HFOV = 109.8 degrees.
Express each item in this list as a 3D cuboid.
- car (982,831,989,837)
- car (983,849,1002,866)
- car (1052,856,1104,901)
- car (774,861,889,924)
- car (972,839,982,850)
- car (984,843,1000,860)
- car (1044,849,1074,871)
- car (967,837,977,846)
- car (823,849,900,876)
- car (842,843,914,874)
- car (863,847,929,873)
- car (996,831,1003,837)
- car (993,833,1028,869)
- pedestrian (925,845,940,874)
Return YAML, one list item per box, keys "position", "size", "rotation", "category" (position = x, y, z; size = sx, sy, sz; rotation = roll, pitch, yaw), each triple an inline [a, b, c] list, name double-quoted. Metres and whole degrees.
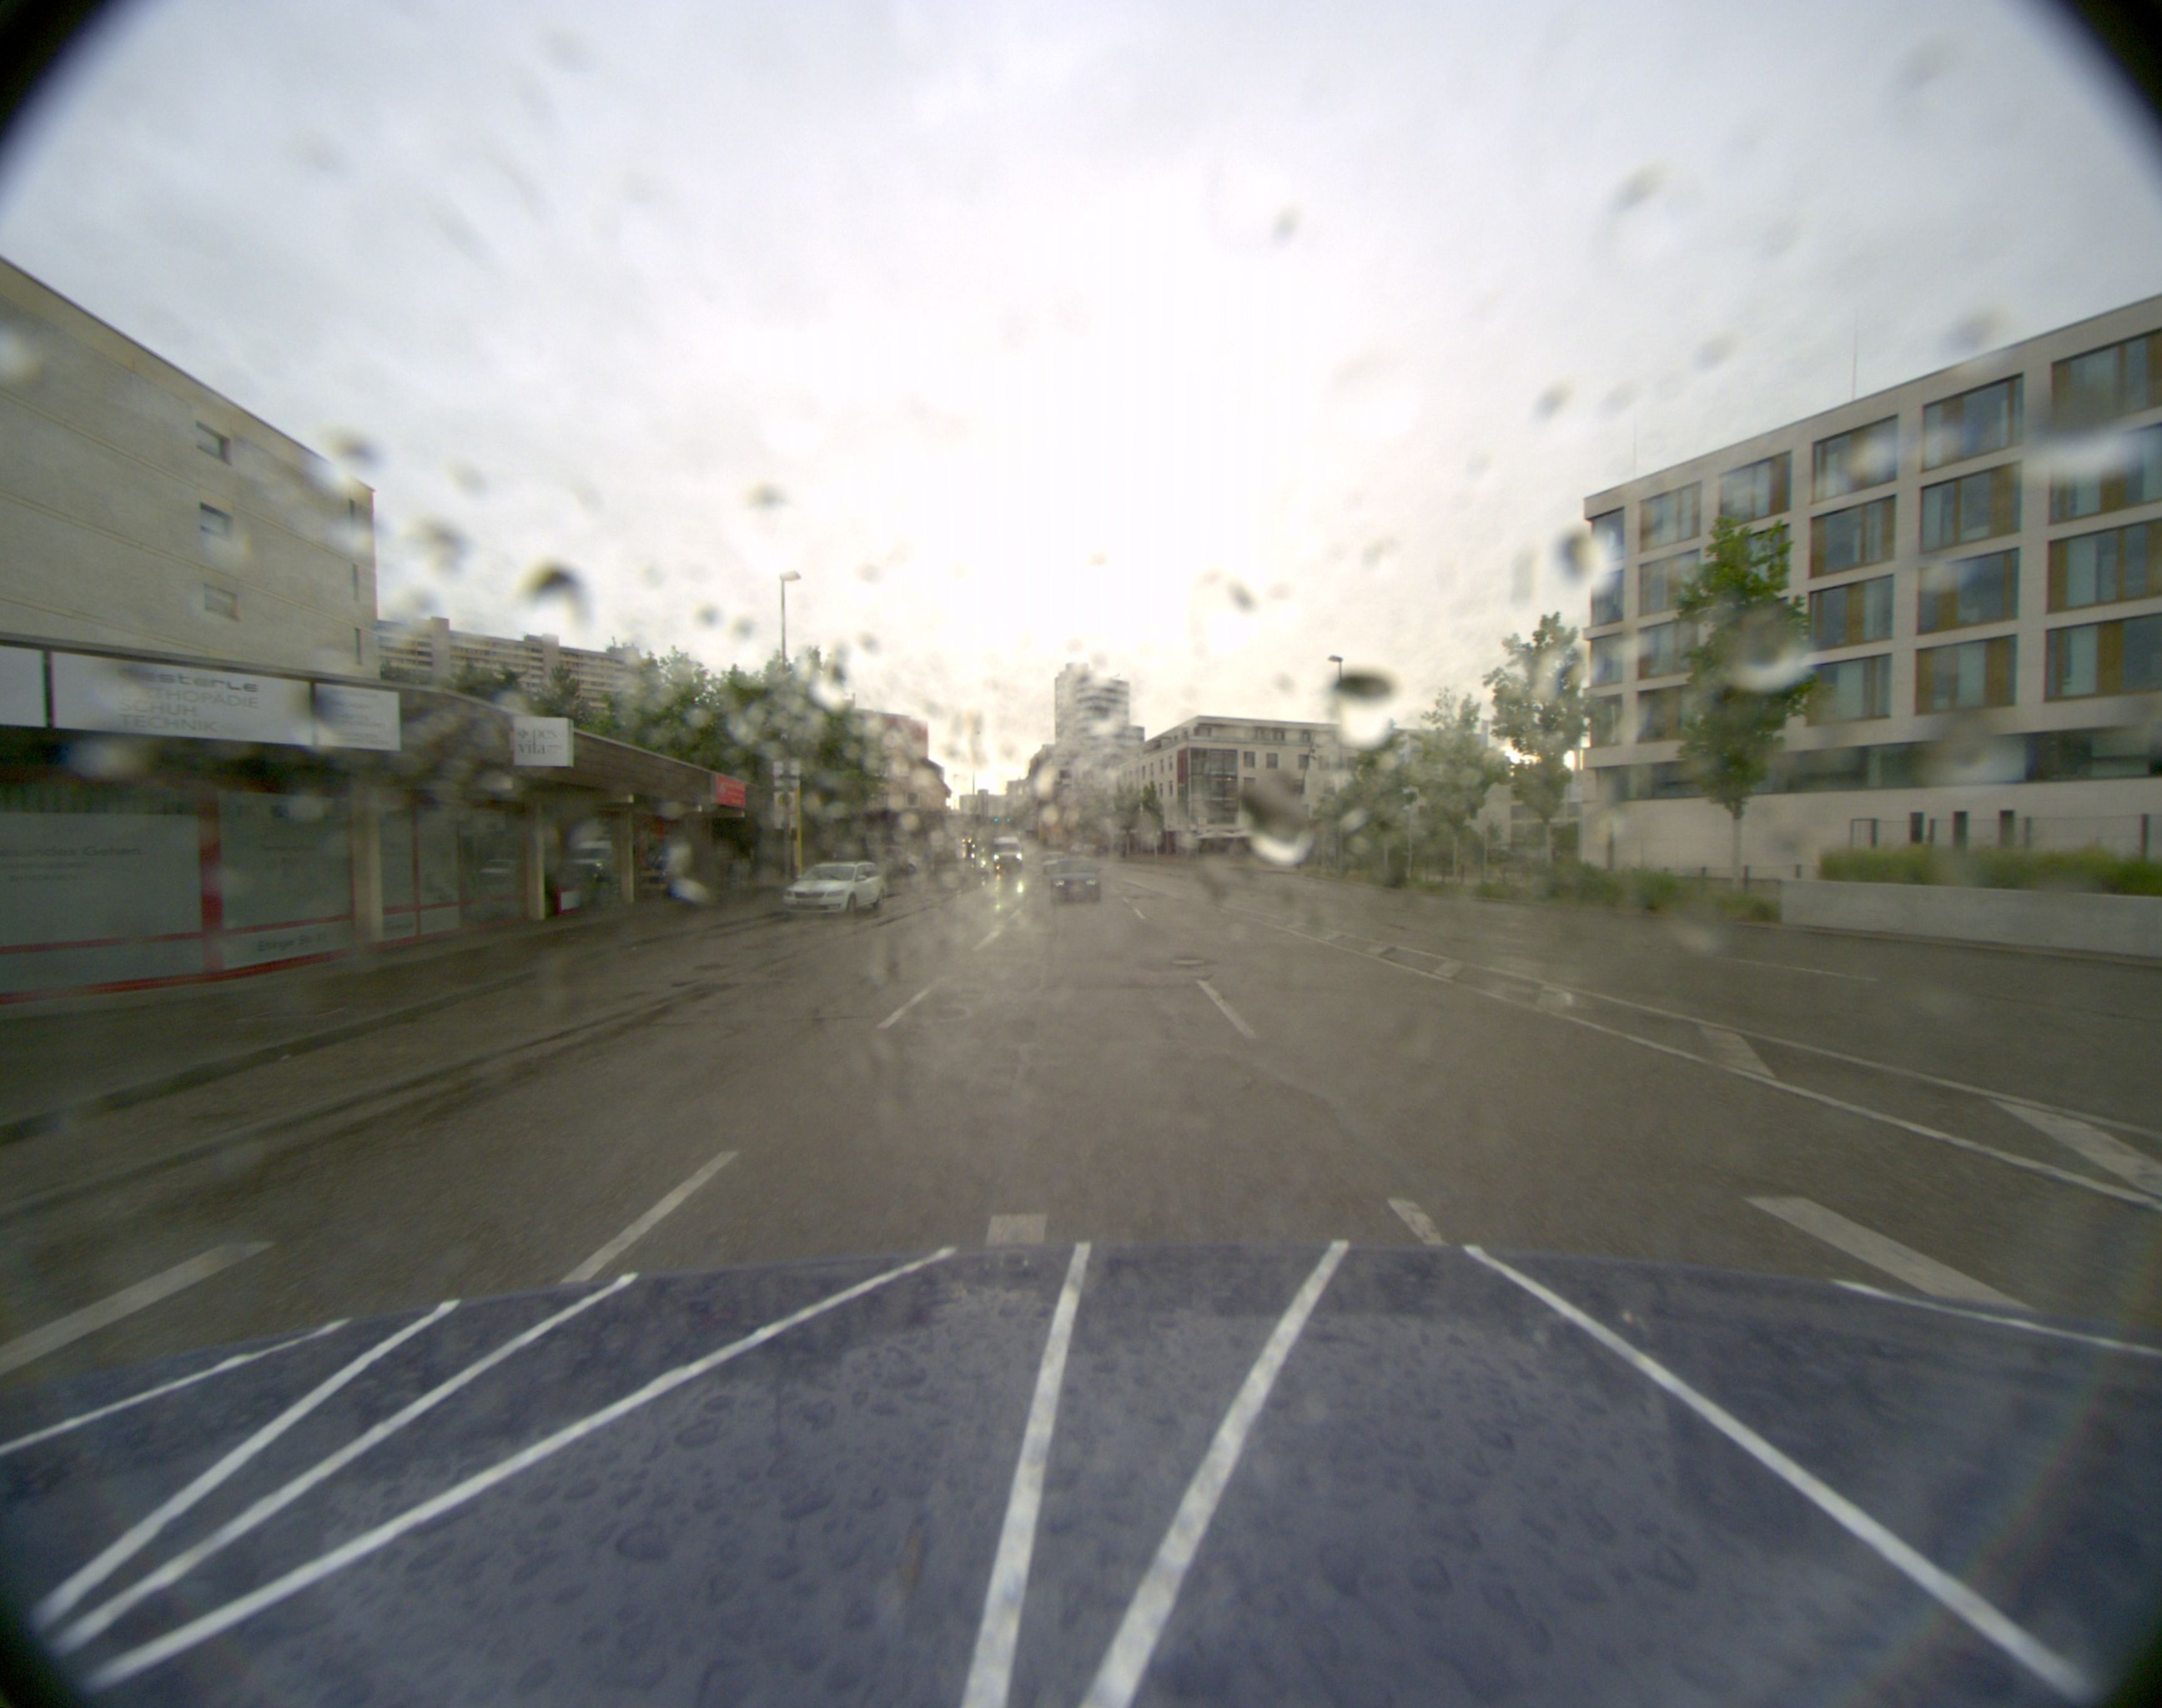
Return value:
- position: [-25.565, -5.318, 202.924]
  size: [1.666, 1.624, 3.801]
  rotation: [-2, 0, -11]
  category: "car"
- position: [-9.436, 0.321, 81.327]
  size: [1.721, 1.740, 3.834]
  rotation: [-2, 0, -4]
  category: "car"
- position: [-0.144, 0.815, 27.113]
  size: [1.693, 1.380, 3.999]
  rotation: [-2, 0, -1]
  category: "car"
- position: [-6.908, 1.005, 21.491]
  size: [1.788, 1.481, 4.000]
  rotation: [-2, 0, 1]
  category: "car"
- position: [-19.623, -1.762, 142.952]
  size: [1.722, 1.988, 3.833]
  rotation: [-2, 0, -8]
  category: "car"
- position: [-11.230, -0.305, 96.039]
  size: [1.721, 1.988, 3.834]
  rotation: [-2, 0, -4]
  category: "car"
- position: [-1.435, 0.386, 51.734]
  size: [1.788, 1.338, 4.162]
  rotation: [-2, 1, 1]
  category: "car"
- position: [-25.451, -2.898, 177.764]
  size: [1.999, 2.002, 3.997]
  rotation: [-2, 1, -6]
  category: "car"
- position: [-12.368, 0.475, 43.045]
  size: [4.000, 1.419, 1.882]
  rotation: [-1, 0, -10]
  category: "car"
- position: [-12.180, 0.276, 45.749]
  size: [4.000, 1.769, 1.882]
  rotation: [-1, 0, -10]
  category: "car"
- position: [-11.852, 0.375, 48.941]
  size: [4.000, 1.584, 1.883]
  rotation: [-1, -1, -10]
  category: "car"
- position: [-24.087, -5.823, 224.407]
  size: [1.666, 1.624, 3.802]
  rotation: [-2, 0, -8]
  category: "car"
- position: [-5.259, -0.236, 57.352]
  size: [2.197, 2.503, 6.121]
  rotation: [-2, 1, -2]
  category: "car"
- position: [-9.175, 0.342, 46.992]
  size: [0.750, 1.771, 0.752]
  rotation: [-2, 1, -2]
  category: "pedestrian"
